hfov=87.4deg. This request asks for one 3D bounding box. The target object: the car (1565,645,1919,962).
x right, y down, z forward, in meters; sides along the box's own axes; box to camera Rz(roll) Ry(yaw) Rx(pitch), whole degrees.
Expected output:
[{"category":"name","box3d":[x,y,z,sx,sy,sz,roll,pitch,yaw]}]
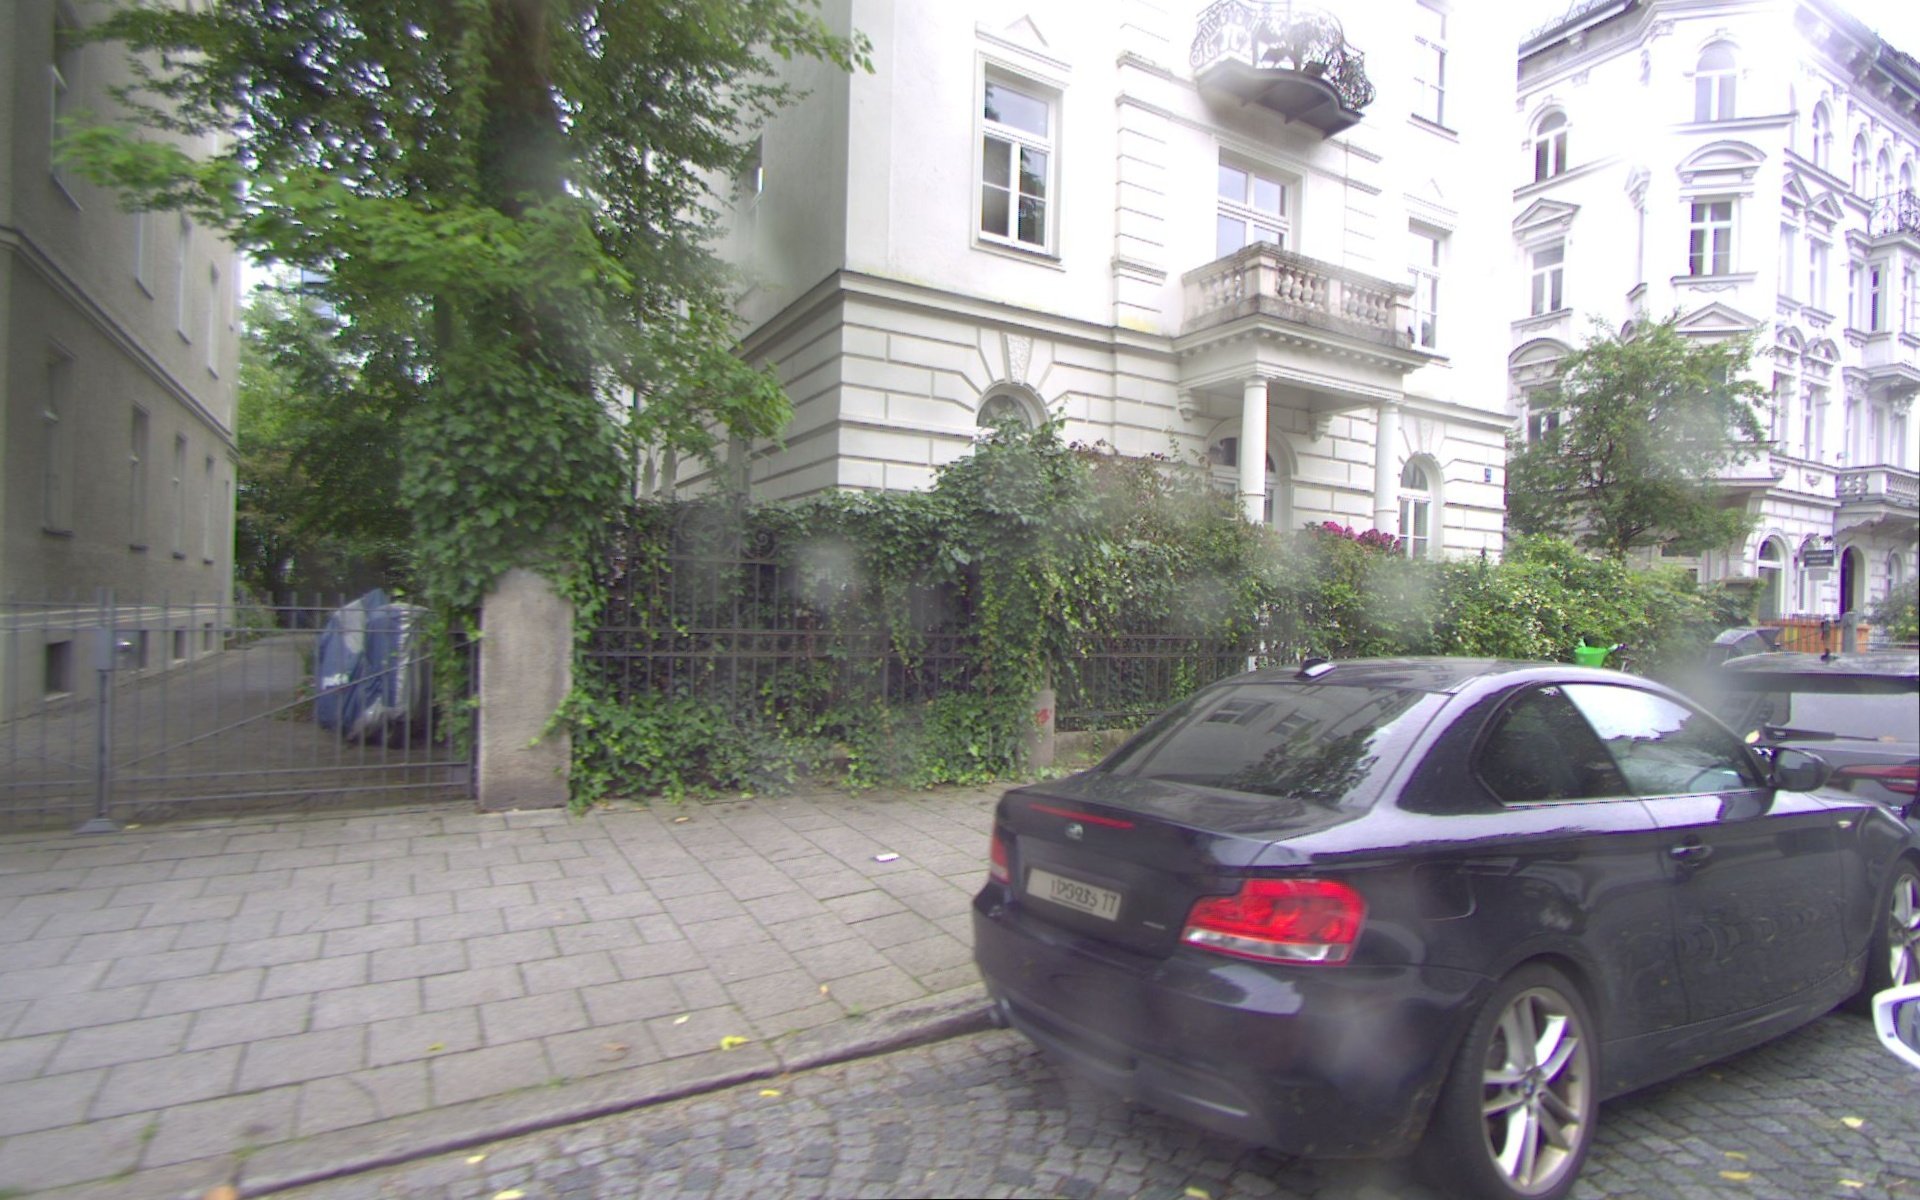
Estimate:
[{"category":"car","box3d":[5.955,1.005,6.212,4.353,1.436,1.879,1,-3,-29]}]

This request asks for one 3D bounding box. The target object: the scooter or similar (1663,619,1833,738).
[{"category":"scooter or similar","box3d":[10.814,1.033,13.754,2.626,1.461,0.936,1,1,-32]}]

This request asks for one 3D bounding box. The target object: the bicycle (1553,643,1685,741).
[{"category":"bicycle","box3d":[8.359,1.131,12.718,2.028,1.137,0.573,1,0,-32]}]

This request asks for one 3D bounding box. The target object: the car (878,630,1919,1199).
[{"category":"car","box3d":[2.062,0.872,3.856,4.446,1.436,1.774,1,-4,-31]}]
